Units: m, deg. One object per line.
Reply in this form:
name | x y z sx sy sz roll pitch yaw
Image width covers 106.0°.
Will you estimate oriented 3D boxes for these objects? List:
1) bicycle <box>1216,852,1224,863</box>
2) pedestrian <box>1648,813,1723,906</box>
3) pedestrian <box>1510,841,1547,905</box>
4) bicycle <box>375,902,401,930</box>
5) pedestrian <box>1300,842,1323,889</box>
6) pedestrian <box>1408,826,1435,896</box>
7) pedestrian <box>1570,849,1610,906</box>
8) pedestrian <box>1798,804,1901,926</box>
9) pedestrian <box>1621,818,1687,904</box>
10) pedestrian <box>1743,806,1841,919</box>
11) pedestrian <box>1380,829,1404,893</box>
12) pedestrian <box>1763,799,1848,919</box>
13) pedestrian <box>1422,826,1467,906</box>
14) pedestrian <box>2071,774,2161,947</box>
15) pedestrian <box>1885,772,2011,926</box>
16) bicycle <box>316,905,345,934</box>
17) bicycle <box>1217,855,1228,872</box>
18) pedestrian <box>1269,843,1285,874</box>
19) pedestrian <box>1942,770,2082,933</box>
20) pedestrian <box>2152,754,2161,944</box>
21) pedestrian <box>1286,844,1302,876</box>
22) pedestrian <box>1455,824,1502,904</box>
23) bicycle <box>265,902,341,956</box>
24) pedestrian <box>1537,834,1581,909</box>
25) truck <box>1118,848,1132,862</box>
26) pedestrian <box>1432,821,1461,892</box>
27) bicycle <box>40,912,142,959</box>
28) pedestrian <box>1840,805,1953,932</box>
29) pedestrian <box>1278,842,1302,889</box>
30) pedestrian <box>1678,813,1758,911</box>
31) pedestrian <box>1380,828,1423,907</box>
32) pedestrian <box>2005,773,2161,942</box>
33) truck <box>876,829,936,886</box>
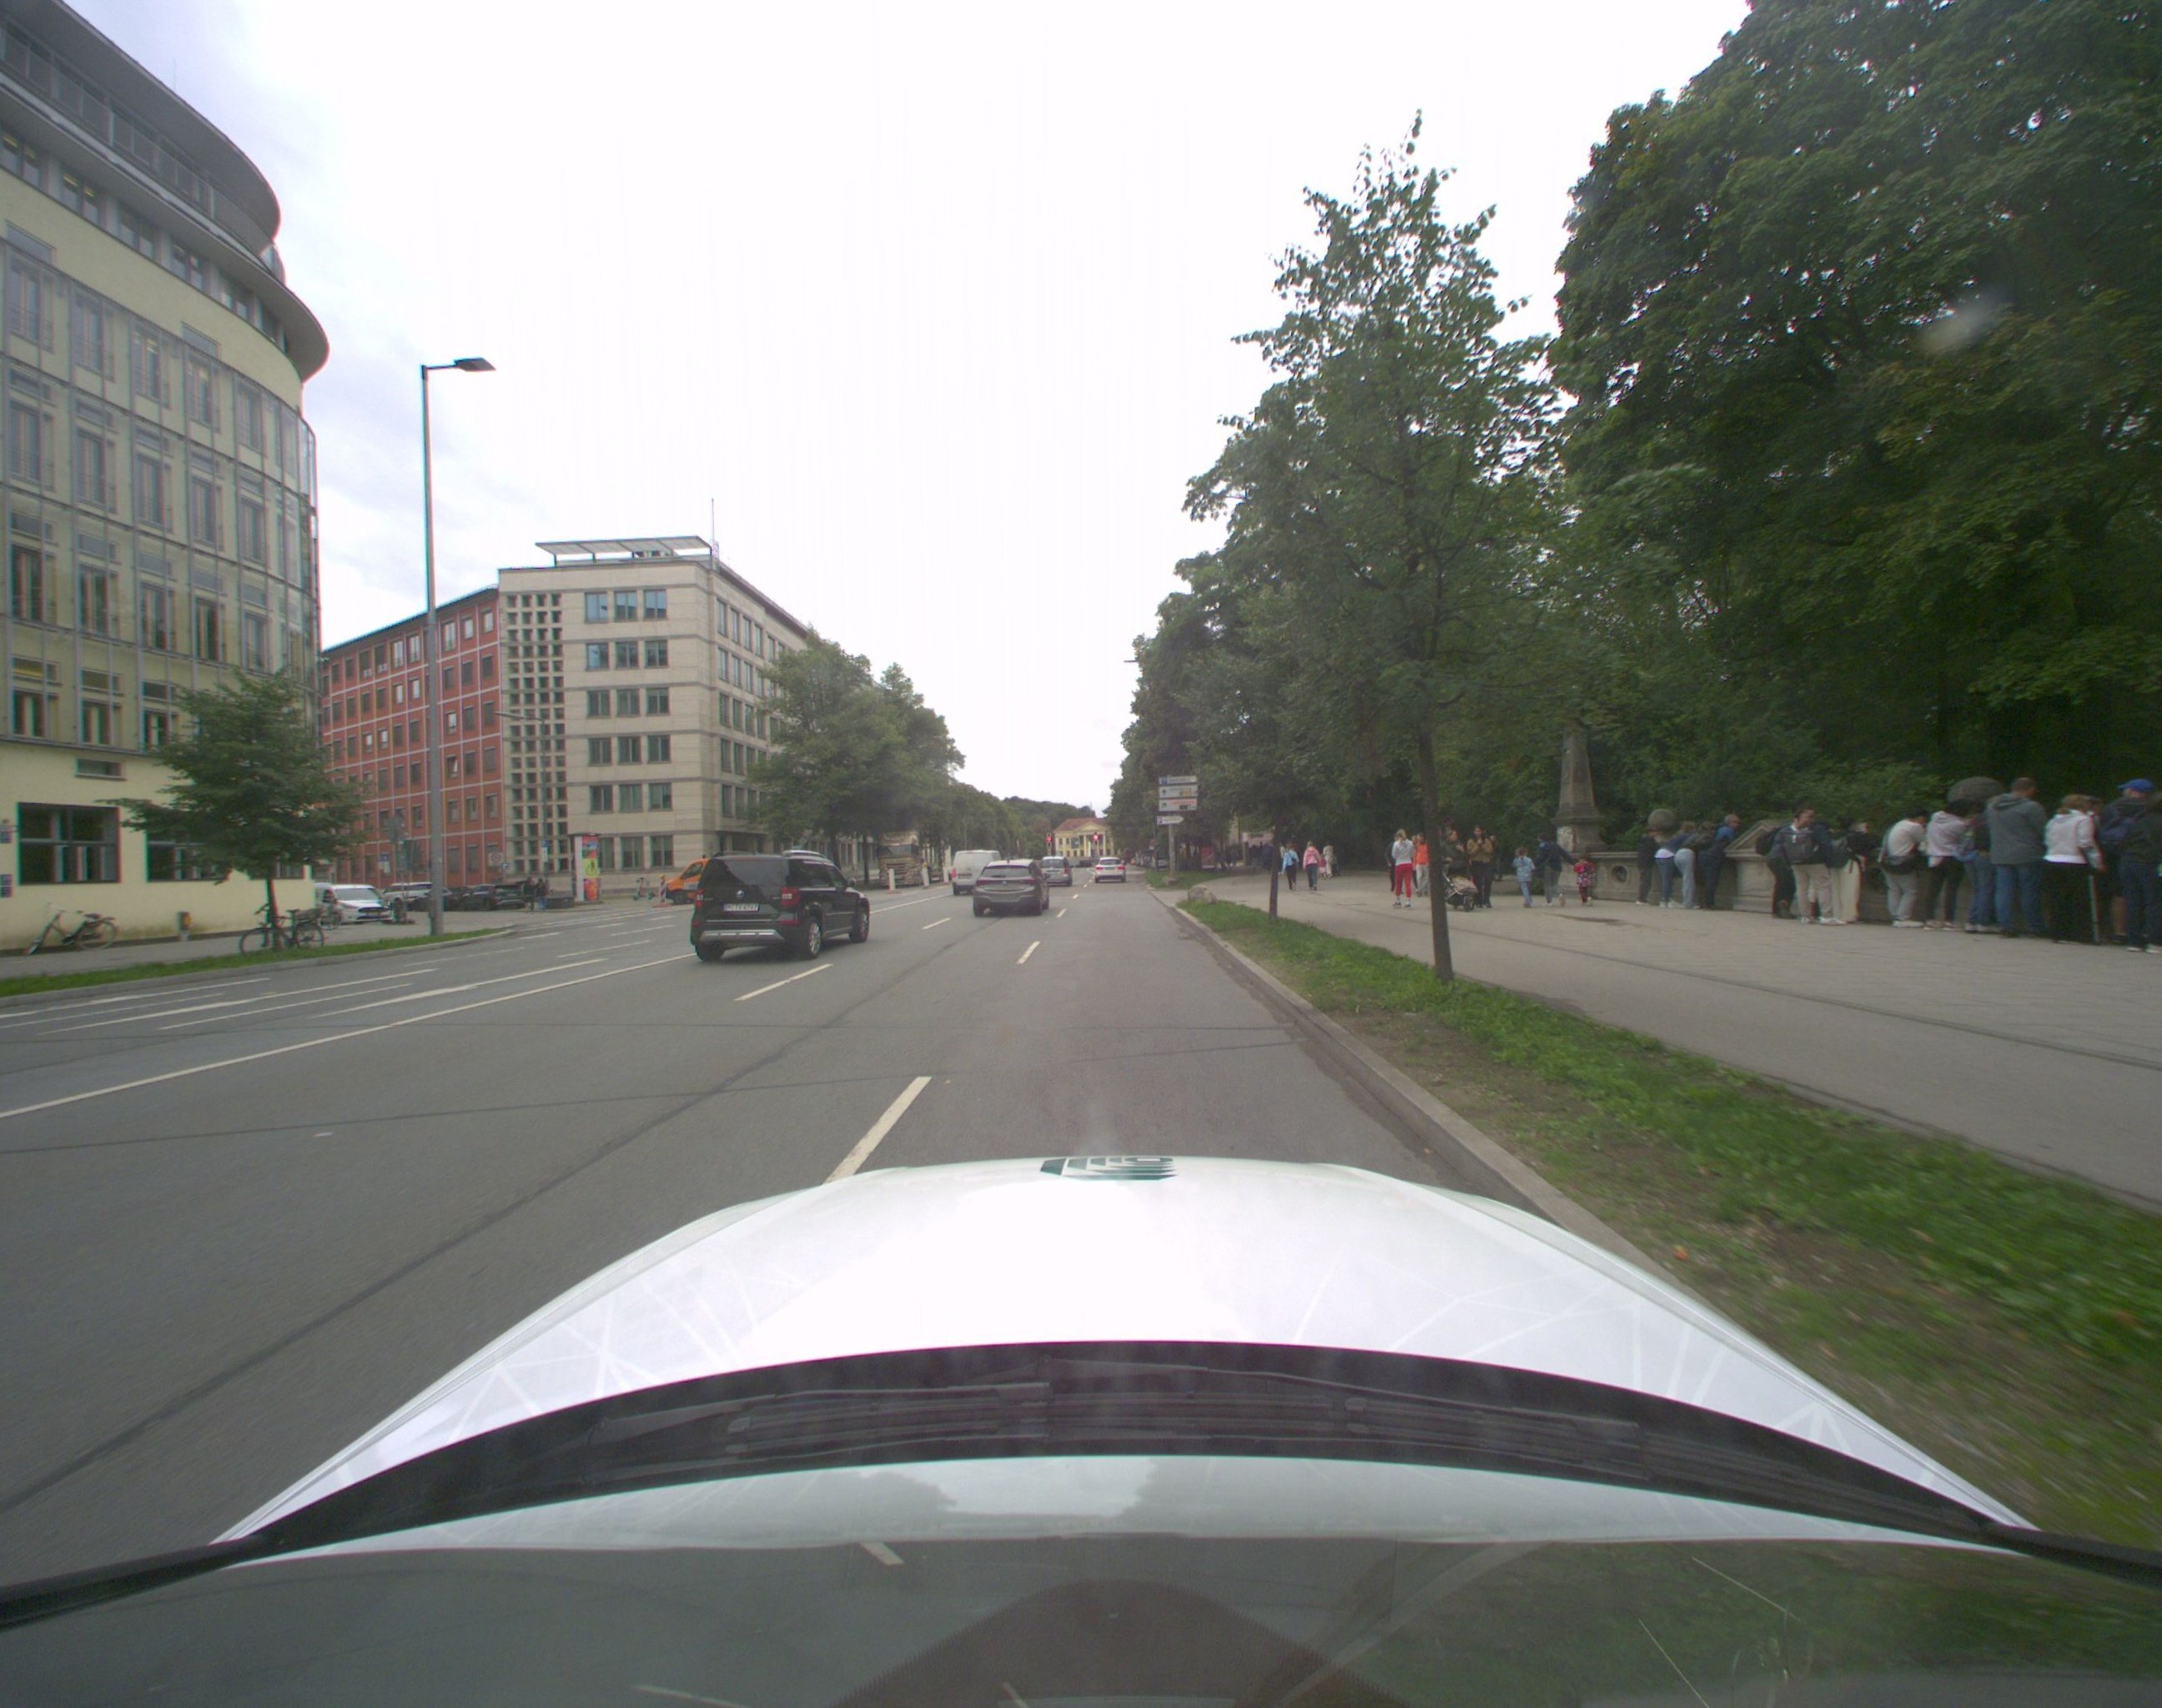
bicycle | 18.388 0.535 107.963 0.696 1.415 2.300 -2 -1 2
pedestrian | 11.396 0.105 15.376 0.808 1.691 0.729 -3 -1 4
pedestrian | 9.370 0.398 17.083 0.455 1.326 0.649 -1 -1 7
bicycle | -27.167 2.420 31.915 1.822 1.021 0.590 -3 -1 43
pedestrian | 8.112 0.406 28.631 0.748 1.644 0.853 -1 -1 17
pedestrian | 9.426 0.195 22.549 0.604 1.914 0.696 -1 -1 18
pedestrian | 10.442 0.479 16.721 0.455 1.153 0.649 -1 -1 7
pedestrian | 11.320 0.163 12.024 0.808 1.739 0.729 -1 -1 4
pedestrian | 11.501 0.143 16.358 0.808 1.691 0.729 -1 -1 4
pedestrian | 11.176 0.136 12.830 0.808 1.691 0.729 -3 -1 4
pedestrian | 9.300 0.210 24.347 0.604 1.873 0.696 -1 -1 18
pedestrian | 10.561 0.079 11.890 0.589 1.691 0.729 -1 -1 4
pedestrian | 7.884 0.255 17.683 0.722 1.691 0.649 -1 -1 7
pedestrian | 10.942 0.063 8.312 0.808 1.691 0.674 -1 -1 4
pedestrian | 11.198 -0.059 10.550 0.808 1.917 0.729 -1 -1 4
bicycle | -25.091 2.180 27.223 1.715 0.877 0.590 -2 -1 43
bicycle | 8.622 0.558 49.622 0.383 1.021 2.080 -1 -1 3
pedestrian | 10.214 0.236 42.438 0.748 1.644 0.653 -1 -1 17
pedestrian | 11.161 -0.025 9.794 0.808 1.874 0.729 -1 -1 4
pedestrian | 10.890 -0.057 7.584 0.808 1.852 0.729 -1 -1 4
pedestrian | 11.056 0.294 42.311 0.748 1.644 0.694 -1 -1 17
pedestrian | 8.565 0.222 17.555 0.722 1.691 0.649 -1 -1 7
bicycle | -16.184 1.533 16.984 0.280 1.013 1.383 0 -1 -2
pedestrian | 9.882 0.364 16.852 0.546 1.527 0.649 -1 -1 7
truck | 11.531 0.270 214.027 3.312 3.367 8.666 -1 -1 2
pedestrian | 9.784 0.075 21.829 0.604 1.873 0.696 -1 -1 18
bicycle | -24.152 1.967 19.914 0.571 1.013 1.592 0 -1 -2
pedestrian | 11.278 0.201 11.297 0.808 1.691 0.729 -1 -1 4
pedestrian | 7.395 0.414 28.809 0.748 1.644 0.853 -1 -1 17
pedestrian | 11.384 0.139 14.584 0.808 1.691 0.729 -2 -1 4
pedestrian | 6.987 0.293 17.792 0.722 1.691 0.649 -1 -1 7
pedestrian | 11.083 0.042 9.029 0.808 1.790 0.729 -1 -1 4
truck | -12.427 0.259 58.459 2.908 3.775 7.659 0 -1 -2
